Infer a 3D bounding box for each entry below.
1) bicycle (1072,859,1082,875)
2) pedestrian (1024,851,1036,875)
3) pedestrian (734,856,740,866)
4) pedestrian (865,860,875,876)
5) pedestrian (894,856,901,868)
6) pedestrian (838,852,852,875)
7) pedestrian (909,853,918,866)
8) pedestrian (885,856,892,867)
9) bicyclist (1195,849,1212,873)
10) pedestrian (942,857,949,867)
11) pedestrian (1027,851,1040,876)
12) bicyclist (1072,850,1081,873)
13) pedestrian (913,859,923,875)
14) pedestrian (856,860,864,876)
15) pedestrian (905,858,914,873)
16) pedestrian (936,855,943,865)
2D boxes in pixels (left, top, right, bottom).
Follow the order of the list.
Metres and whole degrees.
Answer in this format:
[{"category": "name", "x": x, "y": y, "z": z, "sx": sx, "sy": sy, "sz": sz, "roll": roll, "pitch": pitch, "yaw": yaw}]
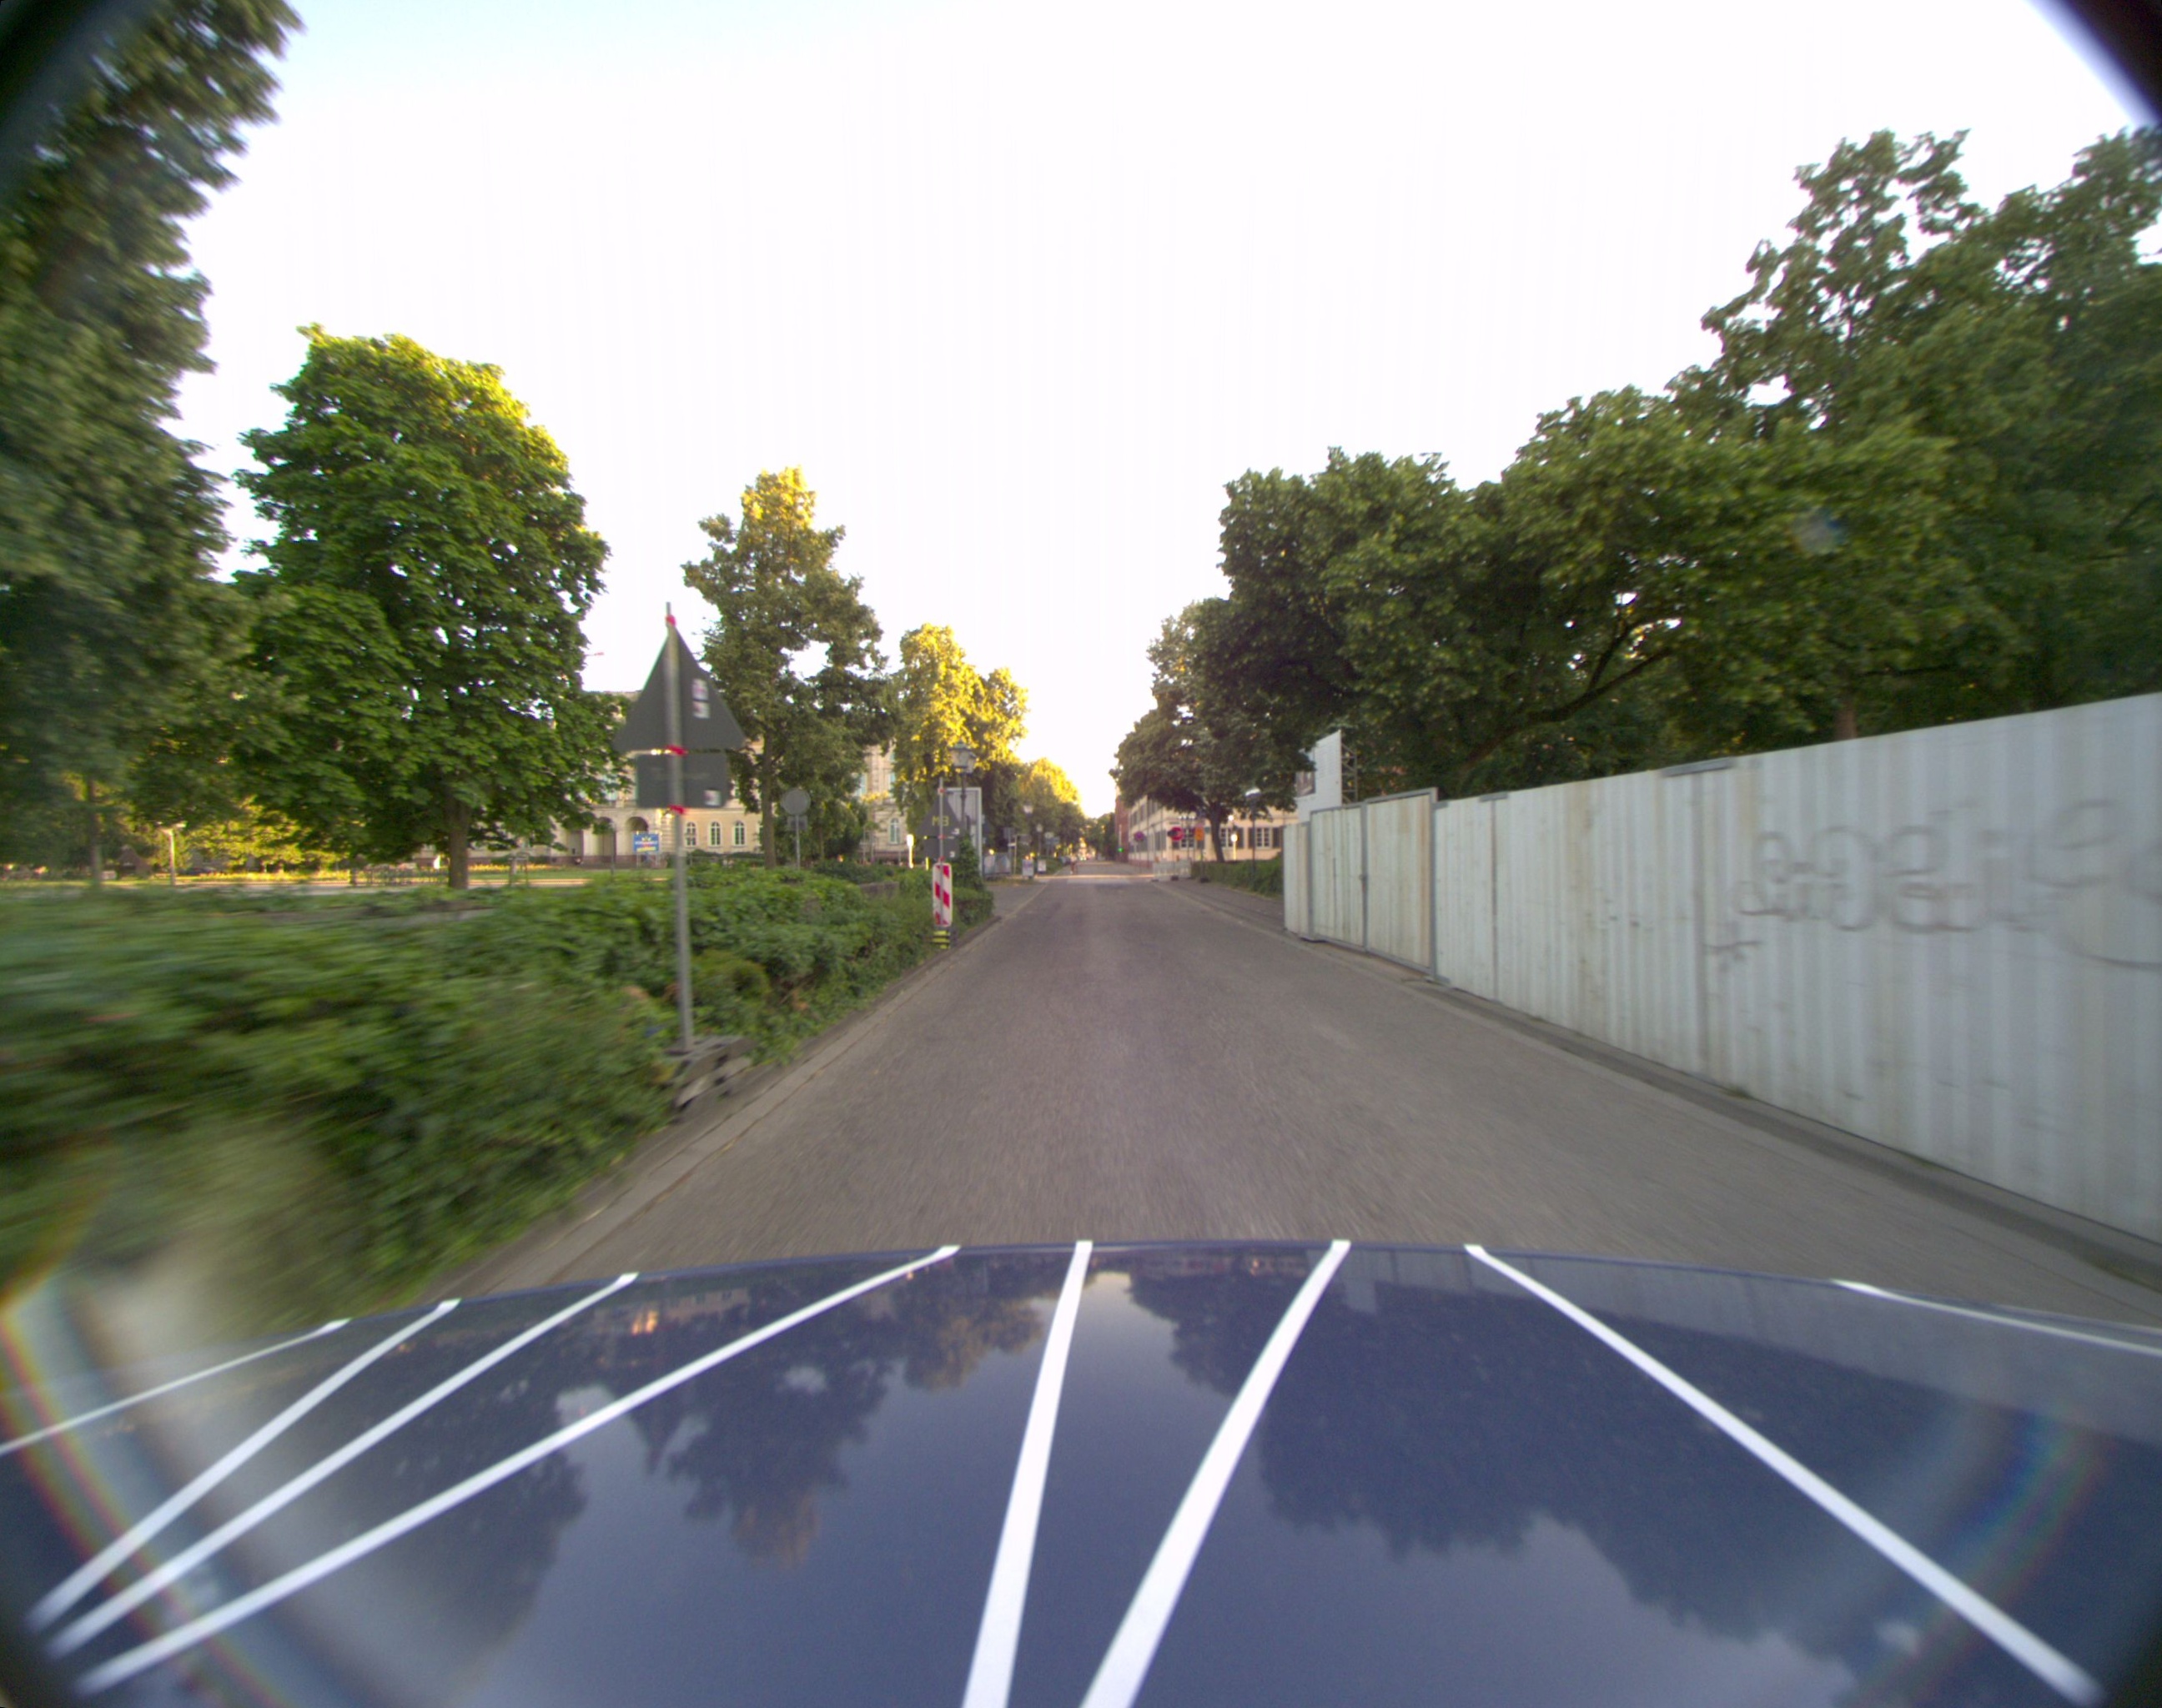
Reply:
[{"category": "bicycle", "x": -0.354, "y": 1.022, "z": 60.425, "sx": 0.653, "sy": 1.175, "sz": 2.344, "roll": -1, "pitch": 0, "yaw": -4}, {"category": "pedestrian", "x": -3.767, "y": 0.661, "z": 56.564, "sx": 0.859, "sy": 1.730, "sz": 0.649, "roll": -1, "pitch": 1, "yaw": -2}, {"category": "pedestrian", "x": -44.061, "y": 0.923, "z": 97.271, "sx": 0.500, "sy": 1.281, "sz": 0.592, "roll": -1, "pitch": 1, "yaw": -5}, {"category": "pedestrian", "x": -16.122, "y": 1.051, "z": 58.034, "sx": 0.608, "sy": 1.207, "sz": 0.666, "roll": -1, "pitch": 0, "yaw": -5}, {"category": "pedestrian", "x": -19.089, "y": 0.816, "z": 78.945, "sx": 0.605, "sy": 1.195, "sz": 0.394, "roll": -1, "pitch": 1, "yaw": -40}, {"category": "pedestrian", "x": -17.521, "y": 0.699, "z": 56.395, "sx": 0.859, "sy": 1.616, "sz": 0.757, "roll": -1, "pitch": 1, "yaw": -4}, {"category": "pedestrian", "x": -19.311, "y": 0.607, "z": 87.382, "sx": 0.754, "sy": 1.435, "sz": 0.816, "roll": -1, "pitch": 1, "yaw": -34}, {"category": "pedestrian", "x": -19.807, "y": 0.764, "z": 78.264, "sx": 0.605, "sy": 1.102, "sz": 0.394, "roll": -1, "pitch": 1, "yaw": -45}, {"category": "bicyclist", "x": 8.110, "y": 0.467, "z": 50.260, "sx": 0.968, "sy": 1.610, "sz": 0.594, "roll": -1, "pitch": 1, "yaw": -2}, {"category": "pedestrian", "x": -14.340, "y": 0.839, "z": 80.154, "sx": 0.605, "sy": 1.044, "sz": 0.394, "roll": -1, "pitch": 1, "yaw": -36}, {"category": "pedestrian", "x": -3.488, "y": 0.679, "z": 55.657, "sx": 0.941, "sy": 1.777, "sz": 0.762, "roll": -1, "pitch": 1, "yaw": -2}, {"category": "bicyclist", "x": -0.354, "y": 0.610, "z": 60.361, "sx": 0.673, "sy": 1.793, "sz": 1.060, "roll": -1, "pitch": 0, "yaw": -4}, {"category": "pedestrian", "x": -12.506, "y": 0.967, "z": 58.325, "sx": 0.608, "sy": 1.197, "sz": 0.666, "roll": -1, "pitch": 0, "yaw": -5}, {"category": "pedestrian", "x": -16.831, "y": 1.052, "z": 57.930, "sx": 0.500, "sy": 1.207, "sz": 0.592, "roll": -1, "pitch": 0, "yaw": -5}, {"category": "pedestrian", "x": -13.170, "y": 0.878, "z": 58.198, "sx": 0.528, "sy": 1.197, "sz": 0.970, "roll": -1, "pitch": 0, "yaw": -5}, {"category": "pedestrian", "x": -14.957, "y": 0.610, "z": 80.459, "sx": 0.605, "sy": 1.044, "sz": 0.394, "roll": -1, "pitch": 1, "yaw": -33}]
